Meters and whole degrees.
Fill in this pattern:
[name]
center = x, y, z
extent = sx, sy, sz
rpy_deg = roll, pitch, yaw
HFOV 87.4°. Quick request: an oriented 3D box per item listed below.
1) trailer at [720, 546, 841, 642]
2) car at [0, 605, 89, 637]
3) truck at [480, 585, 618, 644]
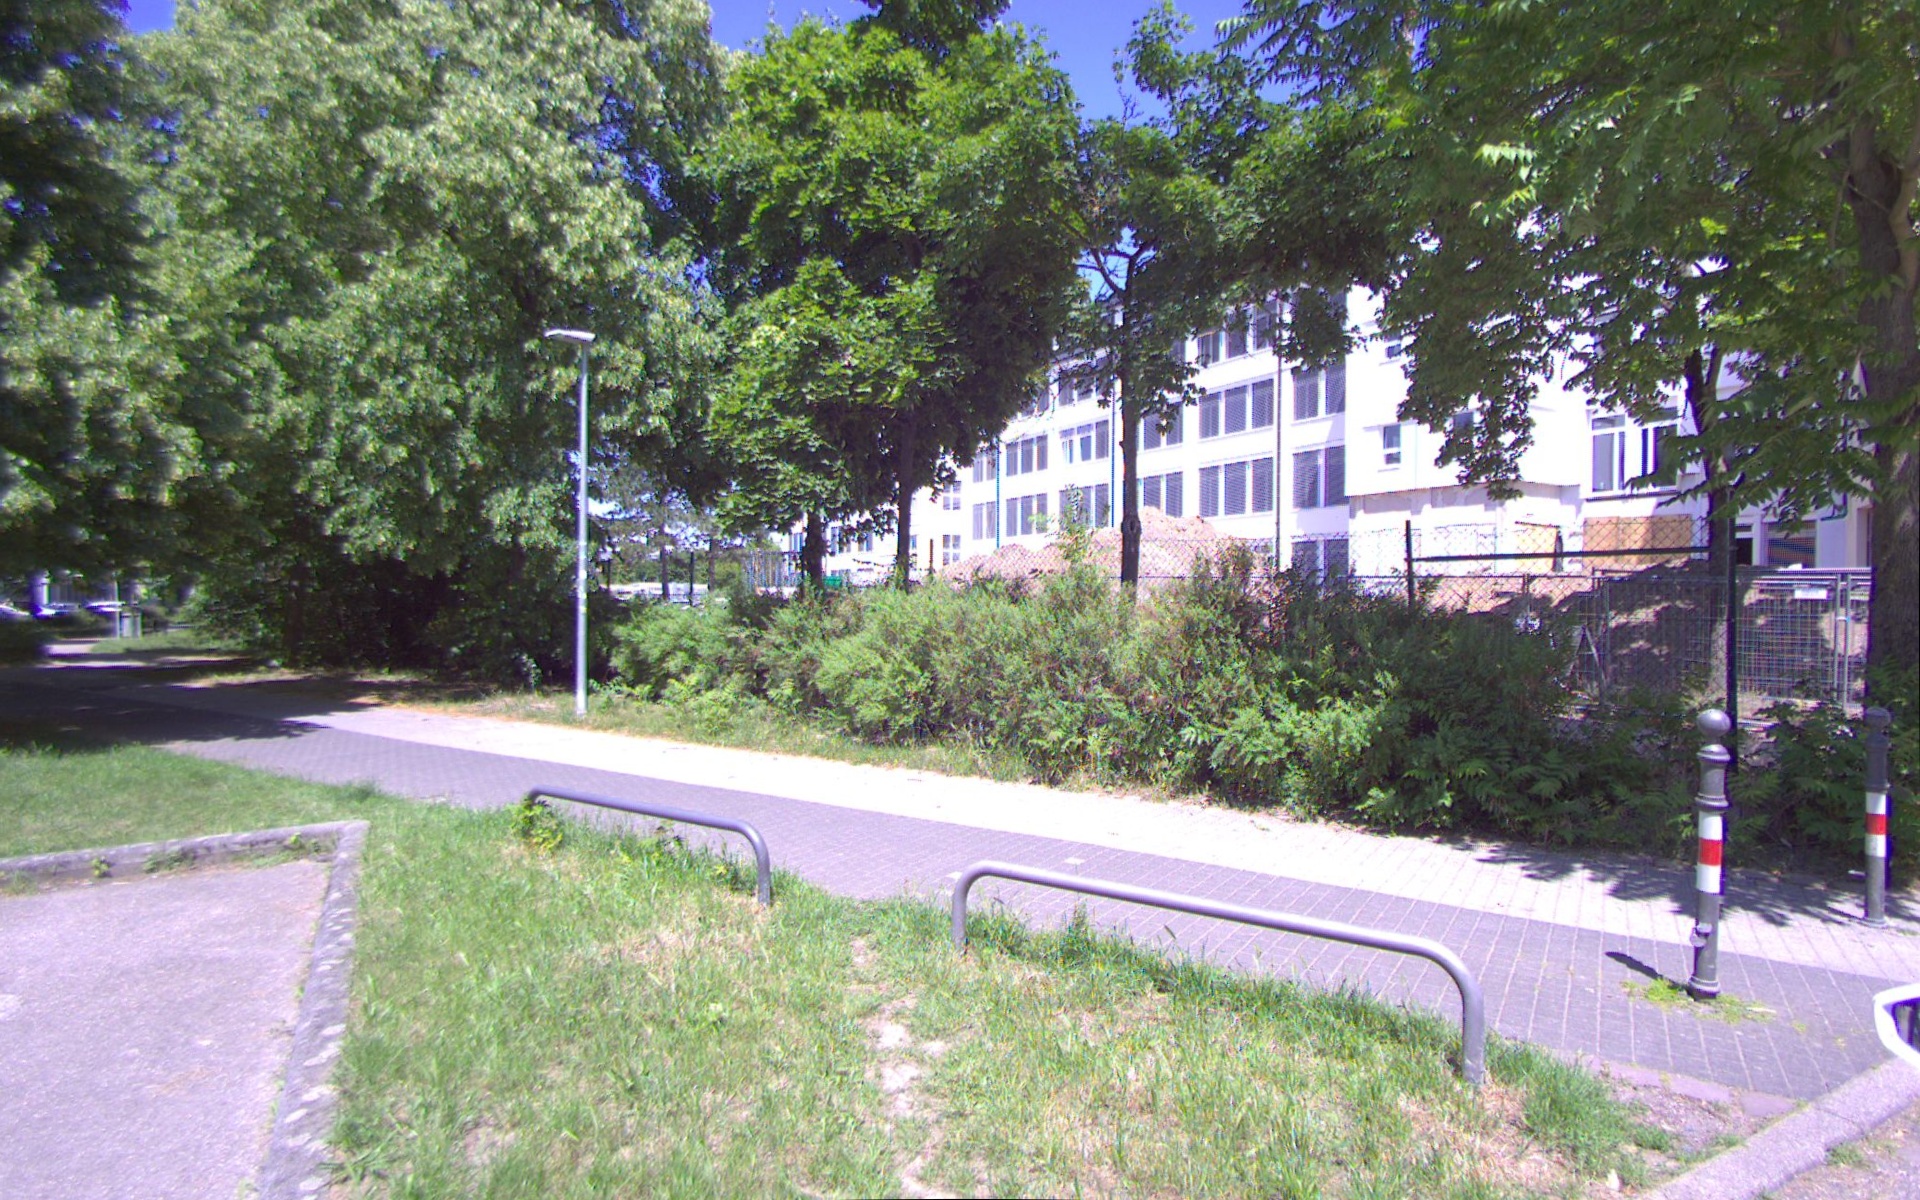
[trailer]
center = -7.491, -0.207, 40.793
extent = 2.998, 3.466, 8.724
rpy_deg = 1, 0, -22
[car]
center = -37.417, 0.831, 40.443
extent = 1.729, 1.261, 3.478
rpy_deg = 0, 0, 45
[truck]
center = -14.838, 0.537, 36.259
extent = 4.404, 2.021, 1.985
rpy_deg = 1, 0, -29
